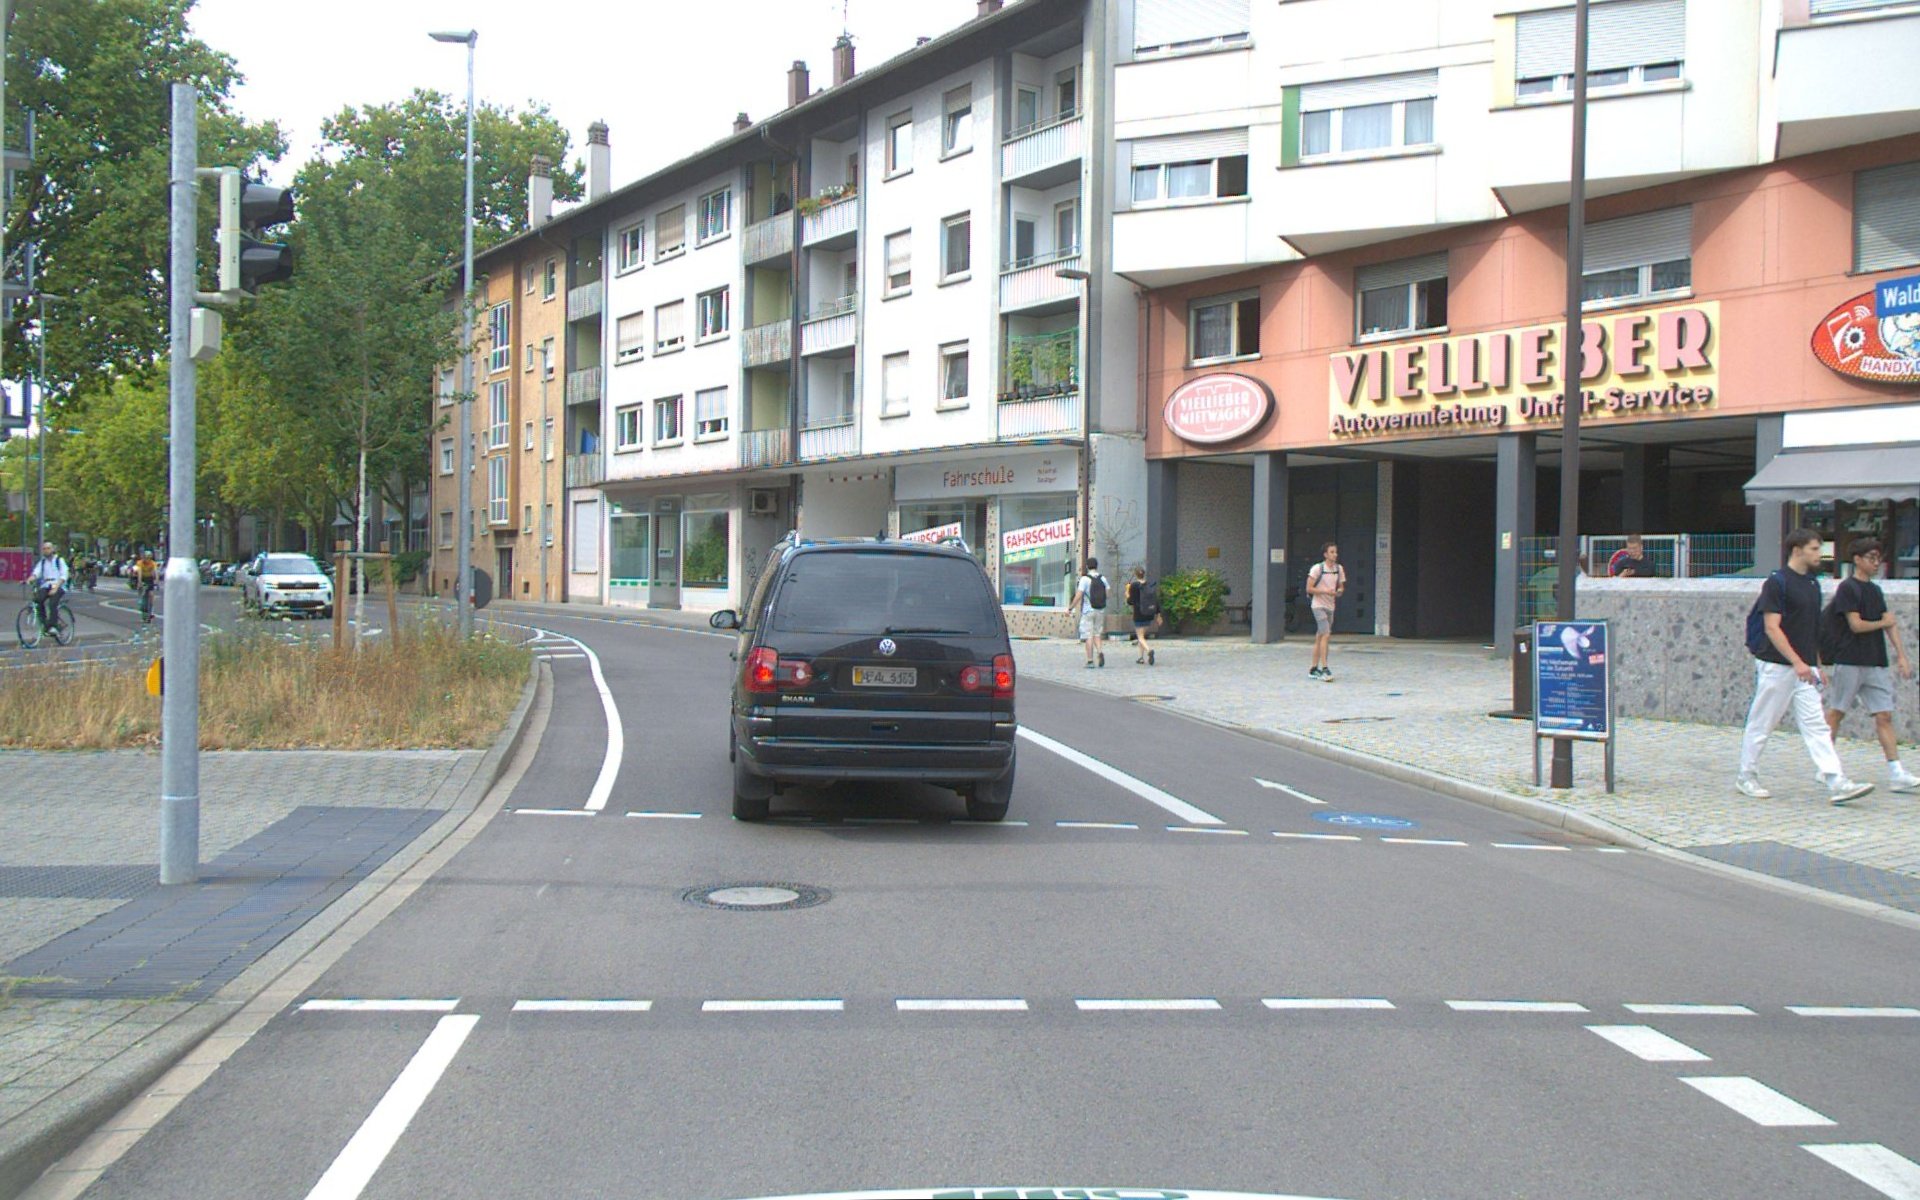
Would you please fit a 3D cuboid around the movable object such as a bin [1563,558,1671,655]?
[{"bbox_3d":[10.781,0.092,27.151,1.184,1.542,1.182,0,1,-36],"label":"movable object such as a bin"}]

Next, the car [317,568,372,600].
[{"bbox_3d":[-30.145,-0.806,80.933,1.644,1.446,3.820,0,2,-34],"label":"car"}]

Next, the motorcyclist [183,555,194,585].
[{"bbox_3d":[-42.636,-1.662,91.406,0.442,1.675,0.513,0,1,-34],"label":"motorcyclist"}]

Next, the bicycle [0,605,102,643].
[{"bbox_3d":[-15.854,0.408,28.760,0.473,0.598,2.000,1,1,13],"label":"bicycle"}]

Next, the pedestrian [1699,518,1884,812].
[{"bbox_3d":[5.976,0.425,11.911,0.714,2.005,0.999,-3,3,-39],"label":"pedestrian"}]

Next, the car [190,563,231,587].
[{"bbox_3d":[-47.612,-1.579,105.041,1.616,1.495,4.264,1,0,-35],"label":"car"}]

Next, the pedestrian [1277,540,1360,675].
[{"bbox_3d":[5.177,0.099,23.900,0.650,1.884,0.961,-3,2,-31],"label":"pedestrian"}]

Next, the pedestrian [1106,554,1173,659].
[{"bbox_3d":[2.998,0.100,27.623,0.600,1.697,0.932,-4,3,-36],"label":"pedestrian"}]

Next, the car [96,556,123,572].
[{"bbox_3d":[-77.568,-3.311,150.798,1.662,1.418,3.831,1,0,-35],"label":"car"}]

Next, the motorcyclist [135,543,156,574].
[{"bbox_3d":[-39.600,-2.038,80.409,0.788,1.486,0.856,-2,1,-31],"label":"motorcyclist"}]

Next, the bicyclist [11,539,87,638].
[{"bbox_3d":[-15.794,-0.202,28.691,0.595,1.674,1.038,1,1,13],"label":"bicyclist"}]

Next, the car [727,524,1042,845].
[{"bbox_3d":[-0.678,0.434,11.241,1.778,1.796,3.731,0,1,-8],"label":"car"}]

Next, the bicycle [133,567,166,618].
[{"bbox_3d":[-20.132,-0.187,41.082,0.507,1.246,1.544,0,1,-35],"label":"bicycle"}]

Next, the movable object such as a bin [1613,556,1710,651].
[{"bbox_3d":[11.788,0.044,27.802,0.994,1.542,1.153,0,1,-36],"label":"movable object such as a bin"}]

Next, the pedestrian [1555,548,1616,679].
[{"bbox_3d":[8.347,0.168,22.071,0.468,1.701,0.583,-3,3,-33],"label":"pedestrian"}]

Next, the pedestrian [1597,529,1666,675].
[{"bbox_3d":[9.081,0.013,22.372,0.666,1.936,0.583,-3,3,-34],"label":"pedestrian"}]

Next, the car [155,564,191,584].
[{"bbox_3d":[-57.672,-1.930,121.183,1.662,1.418,4.406,1,0,-35],"label":"car"}]

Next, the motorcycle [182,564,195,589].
[{"bbox_3d":[-42.666,-1.316,91.450,0.369,1.373,1.711,0,1,-34],"label":"motorcycle"}]

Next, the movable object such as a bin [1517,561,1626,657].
[{"bbox_3d":[9.762,0.125,26.417,1.136,1.486,1.209,0,1,-36],"label":"movable object such as a bin"}]

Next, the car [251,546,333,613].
[{"bbox_3d":[-17.652,-0.564,43.591,1.809,1.688,4.291,0,1,-25],"label":"car"}]

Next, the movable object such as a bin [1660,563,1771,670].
[{"bbox_3d":[11.223,0.224,24.568,1.134,1.542,1.075,0,1,-36],"label":"movable object such as a bin"}]

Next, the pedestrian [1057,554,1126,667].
[{"bbox_3d":[2.147,0.160,27.107,0.742,1.780,0.852,-4,3,-26],"label":"pedestrian"}]

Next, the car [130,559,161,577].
[{"bbox_3d":[-66.024,-2.582,134.115,1.630,1.438,3.370,0,1,-38],"label":"car"}]

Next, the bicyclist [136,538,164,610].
[{"bbox_3d":[-20.117,-0.640,41.075,0.533,1.774,0.748,0,1,-35],"label":"bicyclist"}]

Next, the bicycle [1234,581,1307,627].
[{"bbox_3d":[6.507,0.066,34.720,0.448,0.912,1.658,0,2,-34],"label":"bicycle"}]

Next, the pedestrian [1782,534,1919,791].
[{"bbox_3d":[6.745,0.430,12.380,0.670,1.831,0.874,-3,3,-40],"label":"pedestrian"}]
